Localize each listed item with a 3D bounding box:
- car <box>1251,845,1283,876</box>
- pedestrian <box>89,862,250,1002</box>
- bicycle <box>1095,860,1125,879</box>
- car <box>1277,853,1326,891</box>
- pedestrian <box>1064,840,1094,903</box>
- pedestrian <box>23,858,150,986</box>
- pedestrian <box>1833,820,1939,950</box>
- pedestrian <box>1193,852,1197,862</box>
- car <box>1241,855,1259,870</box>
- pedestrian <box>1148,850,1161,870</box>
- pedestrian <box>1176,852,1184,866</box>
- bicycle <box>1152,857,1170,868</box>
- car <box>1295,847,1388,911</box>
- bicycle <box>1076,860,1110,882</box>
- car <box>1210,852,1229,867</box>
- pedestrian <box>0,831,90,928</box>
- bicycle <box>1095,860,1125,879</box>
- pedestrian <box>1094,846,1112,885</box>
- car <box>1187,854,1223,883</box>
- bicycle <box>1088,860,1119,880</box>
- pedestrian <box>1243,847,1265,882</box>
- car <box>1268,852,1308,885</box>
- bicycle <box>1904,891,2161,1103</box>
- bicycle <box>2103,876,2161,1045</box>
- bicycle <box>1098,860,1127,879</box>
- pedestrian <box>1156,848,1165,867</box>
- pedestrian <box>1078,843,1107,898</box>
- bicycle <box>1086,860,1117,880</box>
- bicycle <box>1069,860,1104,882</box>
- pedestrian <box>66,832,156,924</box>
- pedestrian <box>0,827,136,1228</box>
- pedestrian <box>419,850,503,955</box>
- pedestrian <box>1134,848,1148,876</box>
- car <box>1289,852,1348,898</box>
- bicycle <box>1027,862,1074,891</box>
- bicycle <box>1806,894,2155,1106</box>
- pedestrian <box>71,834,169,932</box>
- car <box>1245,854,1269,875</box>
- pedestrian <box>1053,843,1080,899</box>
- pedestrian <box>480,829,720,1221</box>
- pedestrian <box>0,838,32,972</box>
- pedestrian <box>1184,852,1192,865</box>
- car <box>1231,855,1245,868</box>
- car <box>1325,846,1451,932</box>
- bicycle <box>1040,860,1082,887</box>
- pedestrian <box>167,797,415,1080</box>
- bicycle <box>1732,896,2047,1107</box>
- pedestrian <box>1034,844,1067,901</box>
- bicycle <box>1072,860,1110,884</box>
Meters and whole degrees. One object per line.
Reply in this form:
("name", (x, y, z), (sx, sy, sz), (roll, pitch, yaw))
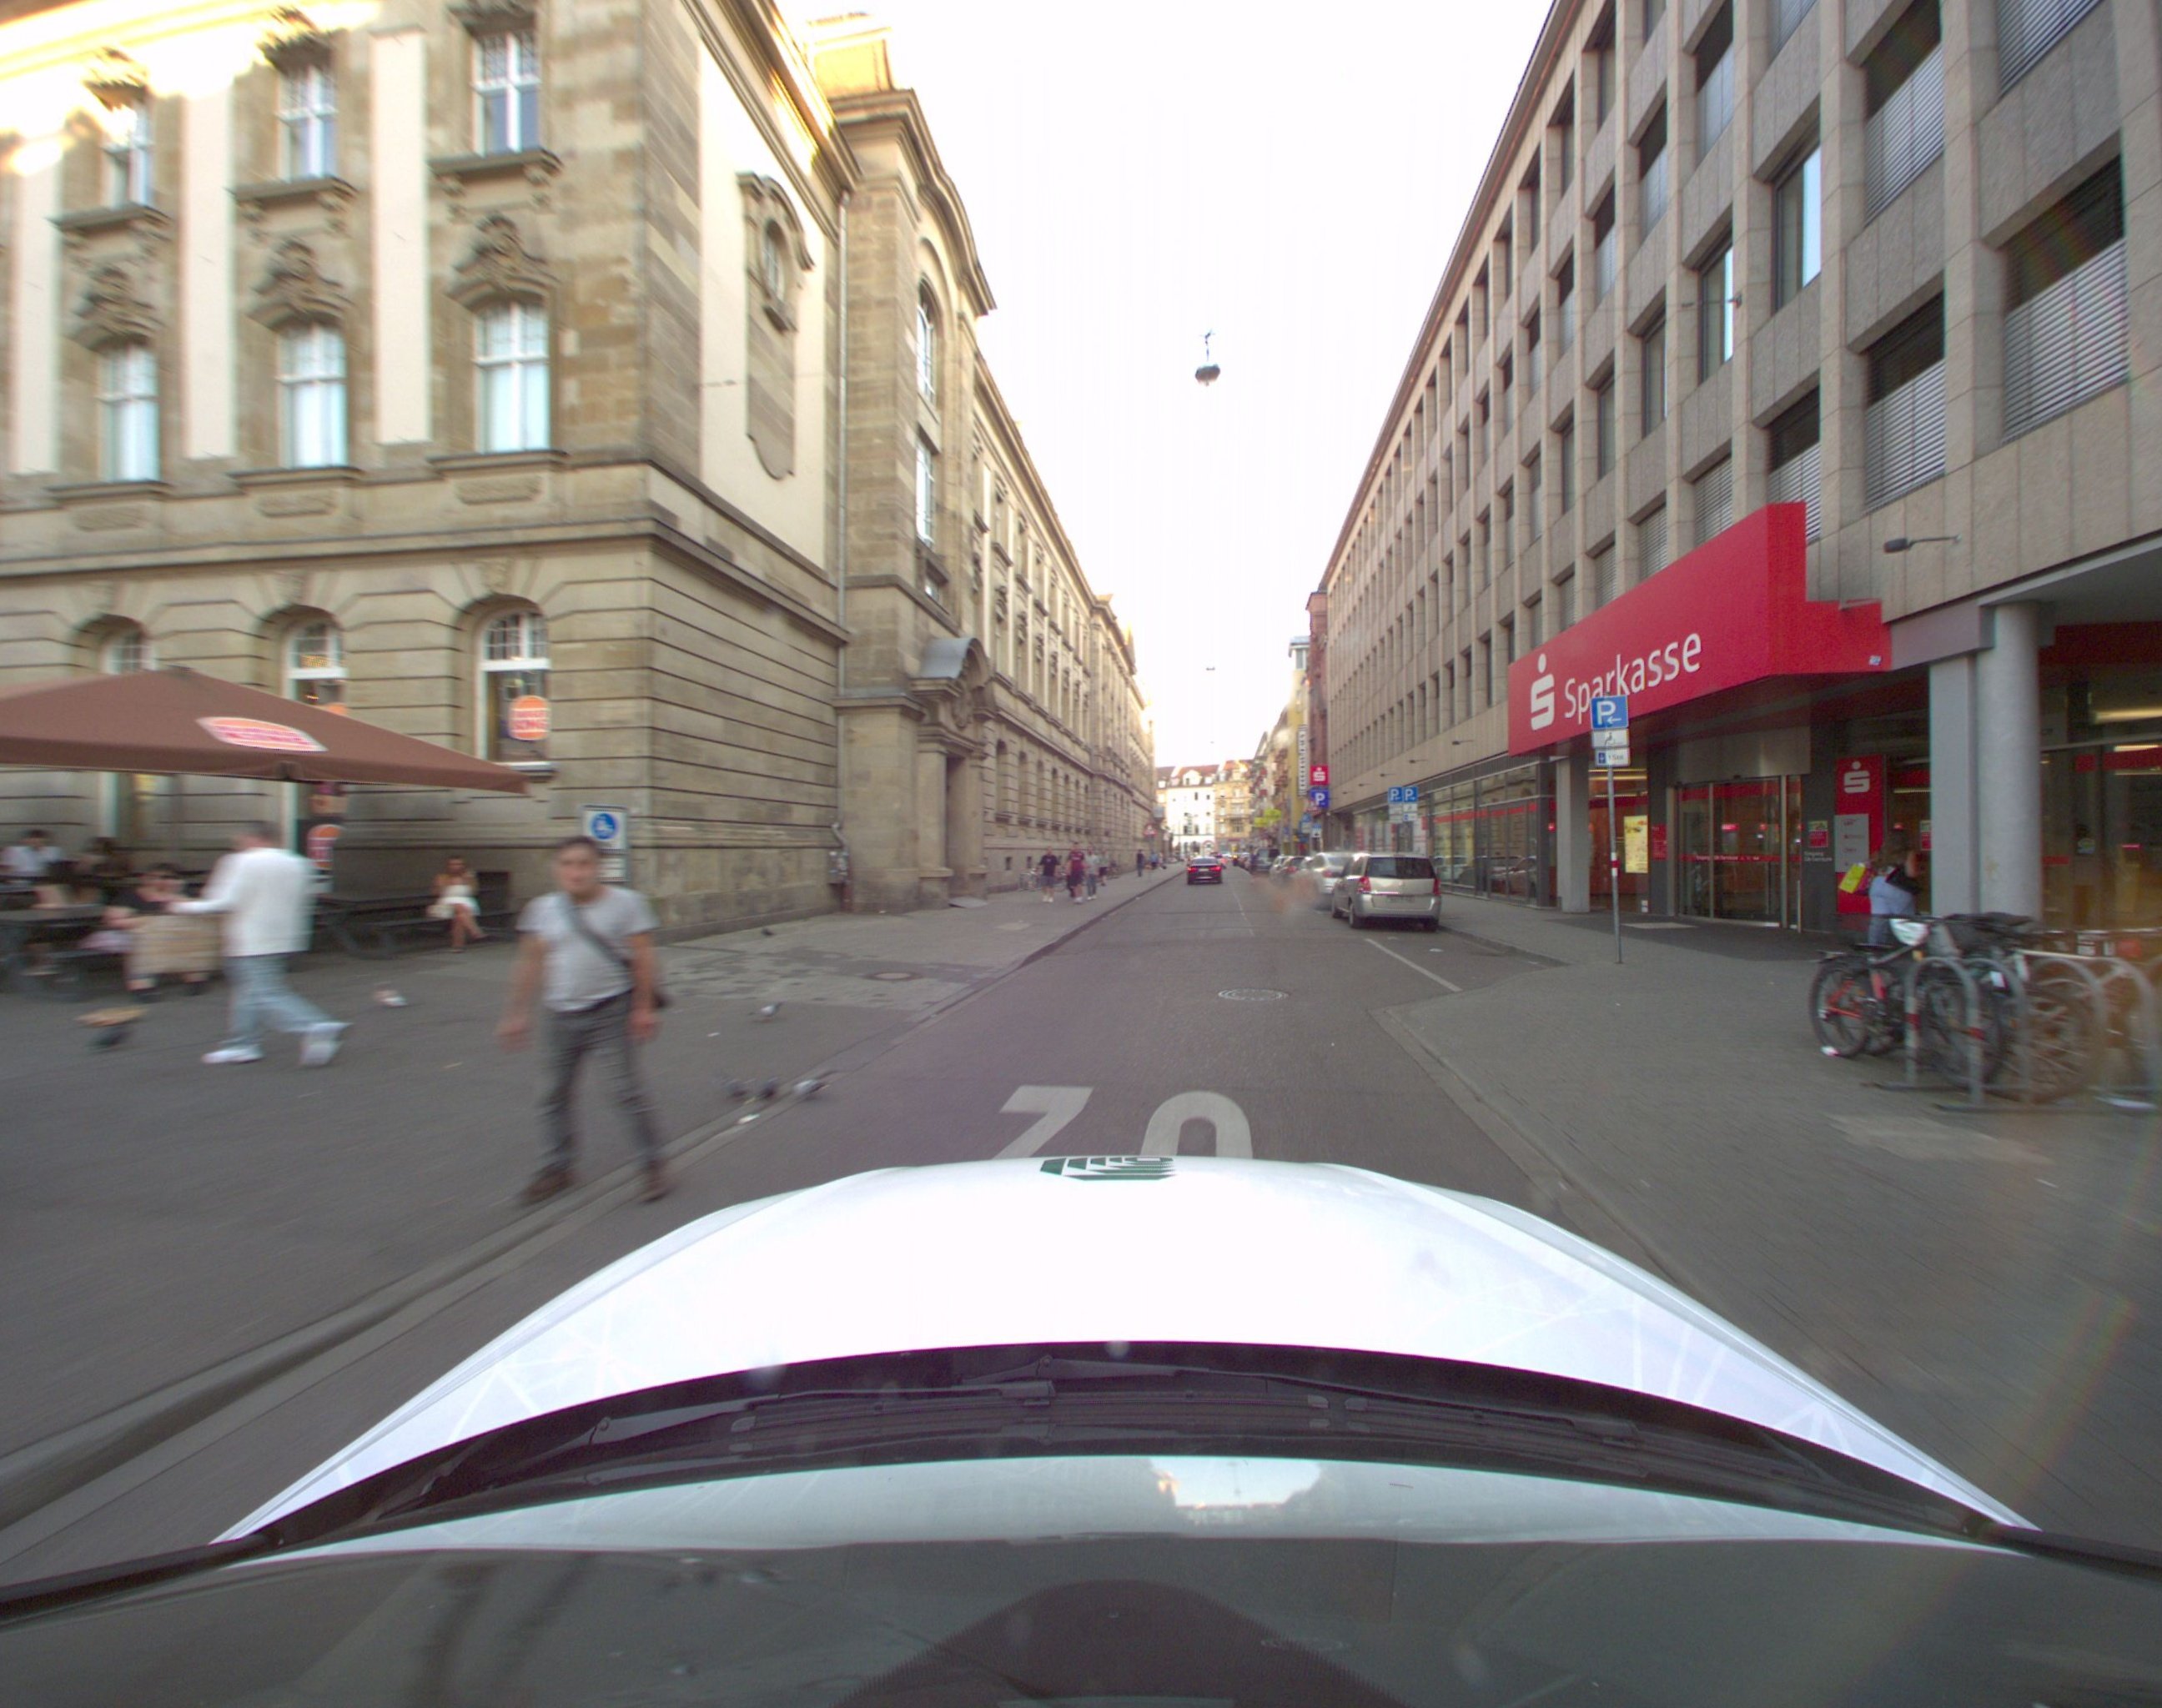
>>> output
("car", (12.965, 0.418, 56.957), (1.859, 2.018, 3.775), (1, 0, 9))
("pedestrian", (-8.883, 0.721, 7.956), (0.818, 1.243, 0.785), (2, 0, 23))
("bicycle", (1.671, 0.914, 46.905), (1.670, 1.041, 0.488), (1, 0, 7))
("car", (9.279, 0.723, 34.526), (1.634, 1.523, 3.293), (1, 0, 9))
("pedestrian", (-0.059, 0.515, 24.518), (0.694, 1.812, 0.977), (3, 0, 7))
("pedestrian", (-10.254, 0.670, 8.408), (0.692, 1.226, 0.620), (2, 0, 23))
("pedestrian", (10.730, 0.399, 10.872), (0.702, 1.661, 0.693), (-2, 0, -10))
("pedestrian", (20.301, 0.547, 144.618), (0.662, 1.752, 0.682), (3, 0, 6))
("car", (17.912, 0.918, 86.487), (1.634, 1.523, 3.293), (1, 0, 9))
("pedestrian", (6.085, 0.504, 67.431), (0.928, 1.636, 0.656), (3, 0, 7))
("pedestrian", (13.224, 0.634, 108.644), (0.928, 1.752, 0.811), (3, 0, 6))
("bicycle", (7.792, 0.811, 79.023), (1.669, 1.041, 0.488), (3, 0, 10))
("car", (7.466, 0.659, 23.713), (1.761, 1.636, 4.097), (1, 0, 6))
("bicycle", (0.609, 0.874, 41.866), (1.670, 1.041, 0.488), (1, 0, 7))
("car", (13.980, 0.540, 82.406), (1.784, 1.510, 4.009), (0, 0, 8))
("pedestrian", (-14.572, 0.351, 11.422), (0.577, 1.309, 0.595), (2, 0, 5))
("bicycle", (1.705, 0.918, 47.370), (1.670, 1.041, 0.488), (1, 0, 7))
("pedestrian", (1.015, 0.507, 37.382), (0.715, 1.752, 0.670), (3, 0, 7))
("car", (6.581, 0.756, 43.277), (1.759, 1.409, 4.062), (-1, -1, 9))
("bicycle", (1.266, 0.905, 45.615), (1.670, 1.041, 0.488), (1, 0, 7))
("pedestrian", (8.917, 0.534, 41.942), (0.822, 1.791, 0.722), (-1, 0, -16))
("car", (10.280, 0.701, 40.576), (1.634, 1.523, 3.293), (1, 0, 9))
("bicycle", (6.197, 0.803, 5.109), (0.555, 1.041, 1.690), (-2, 0, 10))
("bicycle", (7.540, 0.719, 4.878), (0.543, 1.117, 1.813), (-2, 0, 1))
("bicycle", (1.876, 0.930, 48.649), (1.670, 1.041, 0.488), (1, 0, 7))
("pedestrian", (7.629, 0.311, 78.128), (0.803, 1.752, 0.938), (3, 0, 8))
("pedestrian", (0.374, 0.526, 26.452), (0.782, 1.752, 0.723), (3, 0, 7))
("bicycle", (1.133, 0.902, 45.174), (1.670, 1.041, 0.488), (1, 0, 7))
("bicycle", (0.285, 0.865, 40.627), (1.670, 1.041, 0.488), (1, 0, 7))
("pedestrian", (-14.395, 0.351, 12.103), (0.577, 1.309, 0.595), (2, 0, 7))
("pedestrian", (-4.701, 0.685, 3.265), (0.866, 1.582, 0.808), (0, -2, 9))
("pedestrian", (-8.340, 0.623, 10.954), (0.763, 1.308, 0.669), (4, 2, 34))
("pedestrian", (3.859, 0.516, 52.482), (0.799, 1.752, 0.812), (3, 0, 7))
("car", (8.574, 0.714, 29.626), (1.634, 1.523, 3.293), (1, 0, 9))
("bicycle", (-1.155, 0.866, 30.947), (1.667, 1.041, 0.489), (1, 0, 14))
("bicycle", (5.555, 0.827, 5.202), (0.555, 1.041, 1.690), (-2, 0, 10))
("pedestrian", (-13.490, 0.395, 11.449), (0.604, 1.309, 0.610), (2, 0, 5))
("car", (13.943, 0.809, 64.576), (1.634, 1.523, 3.293), (1, 0, 9))
("pedestrian", (-0.447, 0.530, 26.097), (0.685, 1.752, 0.723), (3, 0, 7))
("pedestrian", (-2.251, 0.723, 3.935), (0.730, 1.646, 0.869), (0, -1, -10))
("pedestrian", (-11.624, 0.523, 8.384), (0.645, 1.383, 0.810), (2, 0, 20))
("pedestrian", (14.296, 0.627, 109.006), (0.928, 1.752, 0.811), (3, 0, 6))
("car", (19.439, 0.929, 100.956), (1.634, 1.523, 3.293), (1, 0, 9))
("car", (6.608, 0.677, 17.948), (1.759, 1.636, 4.062), (1, 0, 9))
("bicycle", (-0.836, 0.808, 33.771), (1.678, 1.041, 0.486), (1, 0, -8))
("pedestrian", (-5.601, 0.552, 5.836), (0.867, 1.839, 0.868), (2, 0, 4))
("bicycle", (5.051, 0.847, 5.260), (0.555, 1.041, 1.690), (-2, 0, 10))
("pedestrian", (-0.912, 0.548, 24.700), (0.793, 1.675, 0.977), (3, 0, 7))
("bicycle", (0.446, 0.829, 37.165), (1.670, 1.041, 0.488), (1, 0, 7))
